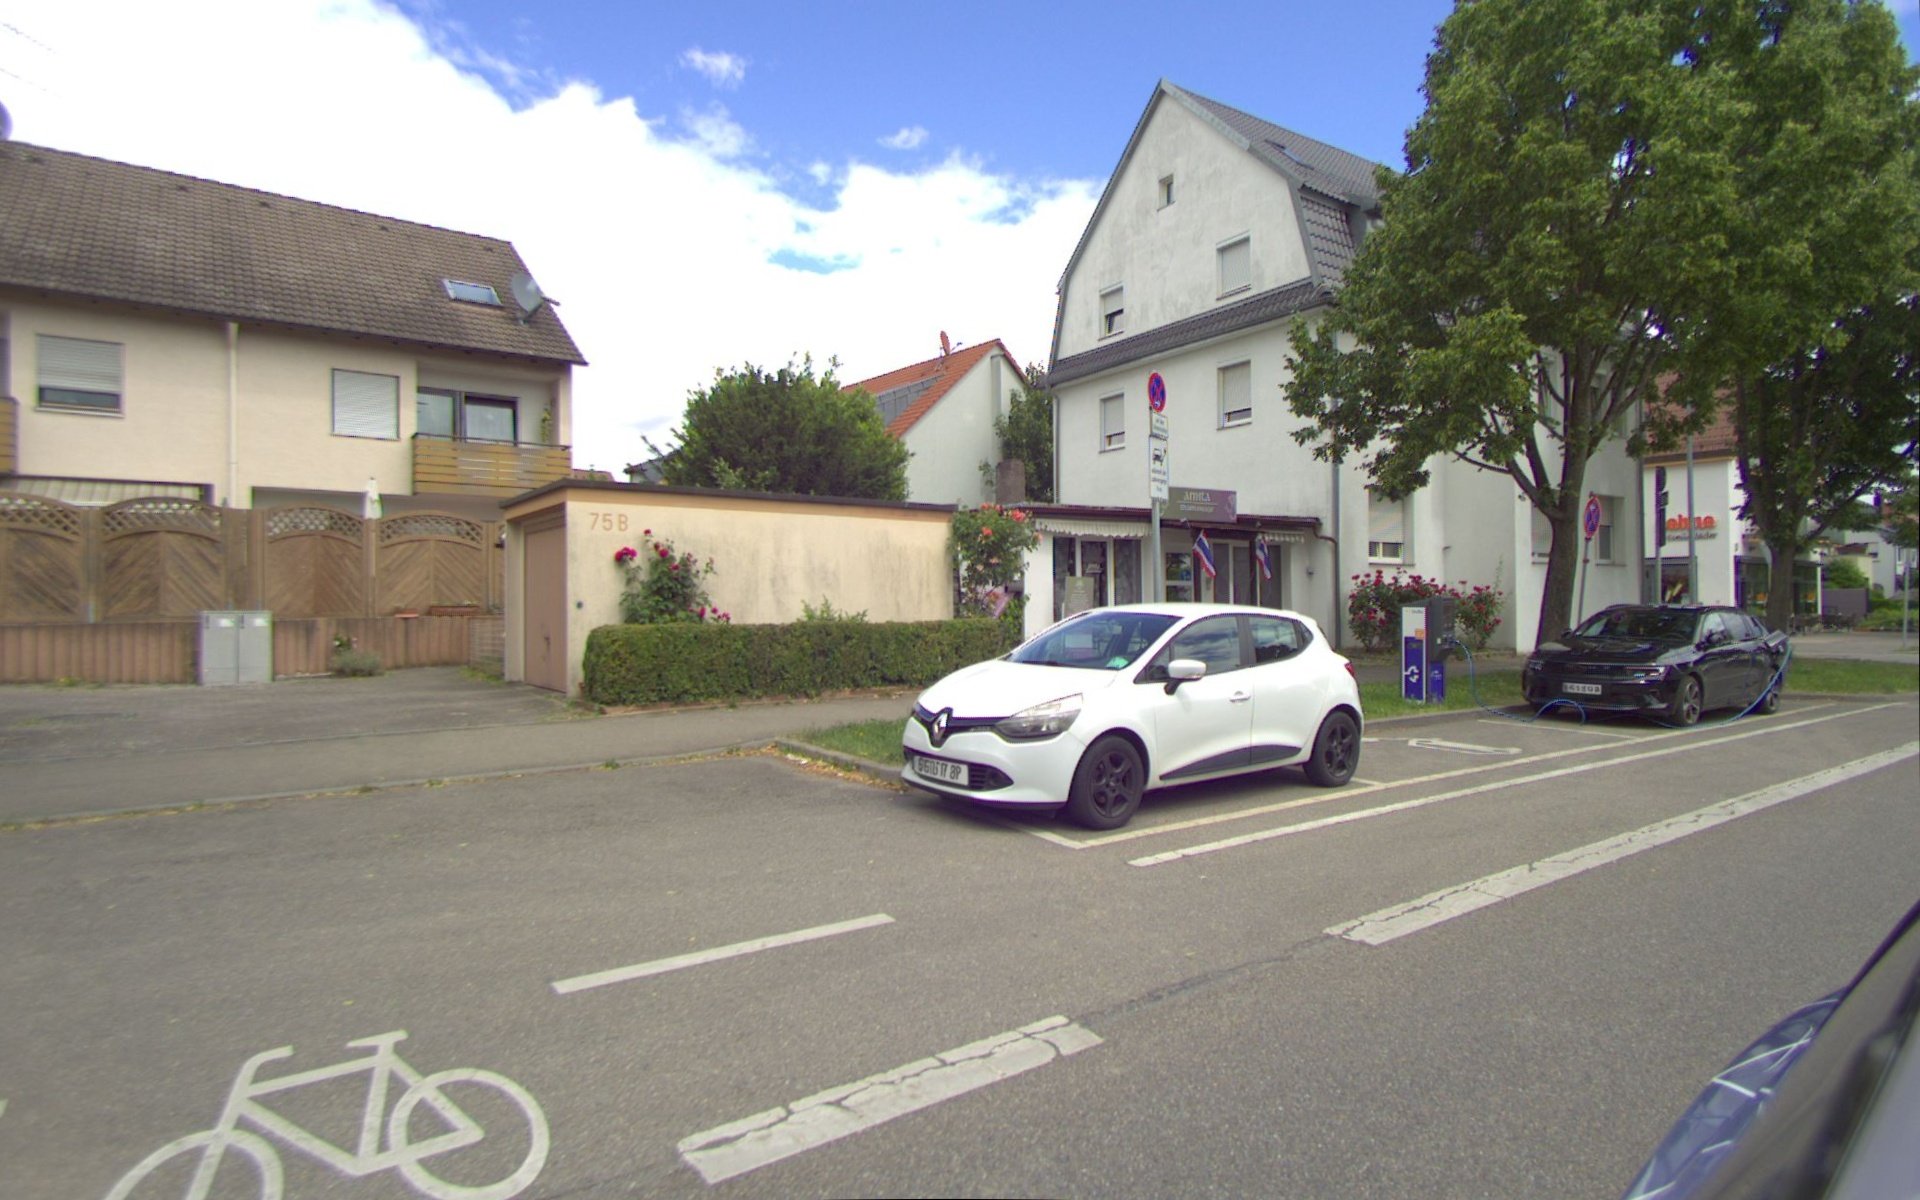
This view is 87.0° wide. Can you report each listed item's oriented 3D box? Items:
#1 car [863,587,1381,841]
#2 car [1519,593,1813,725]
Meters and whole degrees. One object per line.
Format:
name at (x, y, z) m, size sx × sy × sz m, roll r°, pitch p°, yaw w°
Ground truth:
car at (1.369, 0.659, 7.769) m, size 3.925 × 1.481 × 1.677 m, roll 0°, pitch 0°, yaw -36°
car at (9.353, 0.651, 13.290) m, size 4.528 × 1.473 × 1.711 m, roll 0°, pitch 0°, yaw -35°
